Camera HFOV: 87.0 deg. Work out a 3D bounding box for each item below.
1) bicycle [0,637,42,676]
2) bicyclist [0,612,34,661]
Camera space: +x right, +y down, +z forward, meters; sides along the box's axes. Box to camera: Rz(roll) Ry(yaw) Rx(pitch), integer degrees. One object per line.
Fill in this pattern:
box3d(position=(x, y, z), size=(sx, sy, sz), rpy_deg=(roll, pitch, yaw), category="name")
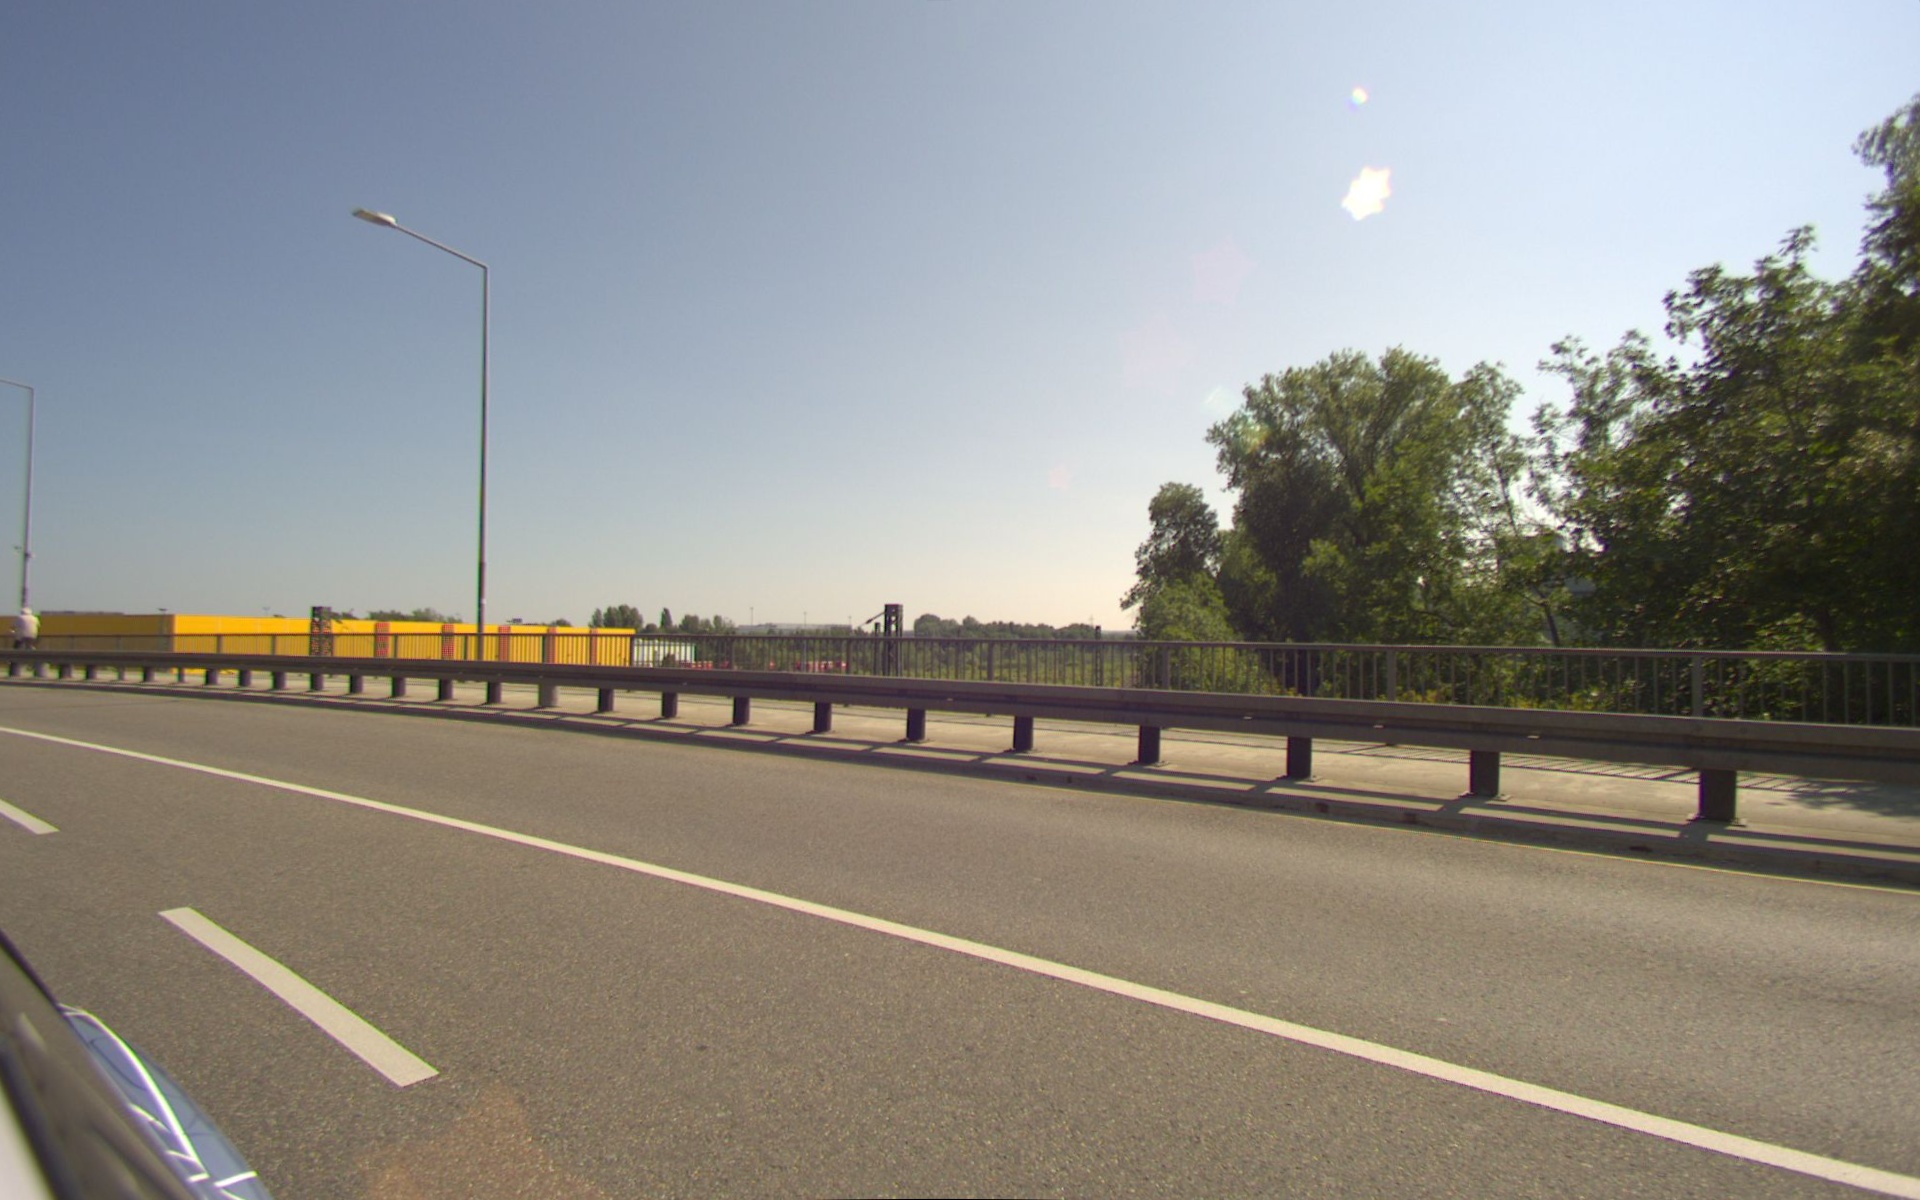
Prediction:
box3d(position=(-26.511, 1.591, 28.395), size=(1.702, 1.055, 0.570), rpy_deg=(-2, -4, 28), category="bicycle")
box3d(position=(-26.487, 1.005, 28.352), size=(0.942, 1.339, 0.485), rpy_deg=(0, -1, 27), category="bicyclist")
